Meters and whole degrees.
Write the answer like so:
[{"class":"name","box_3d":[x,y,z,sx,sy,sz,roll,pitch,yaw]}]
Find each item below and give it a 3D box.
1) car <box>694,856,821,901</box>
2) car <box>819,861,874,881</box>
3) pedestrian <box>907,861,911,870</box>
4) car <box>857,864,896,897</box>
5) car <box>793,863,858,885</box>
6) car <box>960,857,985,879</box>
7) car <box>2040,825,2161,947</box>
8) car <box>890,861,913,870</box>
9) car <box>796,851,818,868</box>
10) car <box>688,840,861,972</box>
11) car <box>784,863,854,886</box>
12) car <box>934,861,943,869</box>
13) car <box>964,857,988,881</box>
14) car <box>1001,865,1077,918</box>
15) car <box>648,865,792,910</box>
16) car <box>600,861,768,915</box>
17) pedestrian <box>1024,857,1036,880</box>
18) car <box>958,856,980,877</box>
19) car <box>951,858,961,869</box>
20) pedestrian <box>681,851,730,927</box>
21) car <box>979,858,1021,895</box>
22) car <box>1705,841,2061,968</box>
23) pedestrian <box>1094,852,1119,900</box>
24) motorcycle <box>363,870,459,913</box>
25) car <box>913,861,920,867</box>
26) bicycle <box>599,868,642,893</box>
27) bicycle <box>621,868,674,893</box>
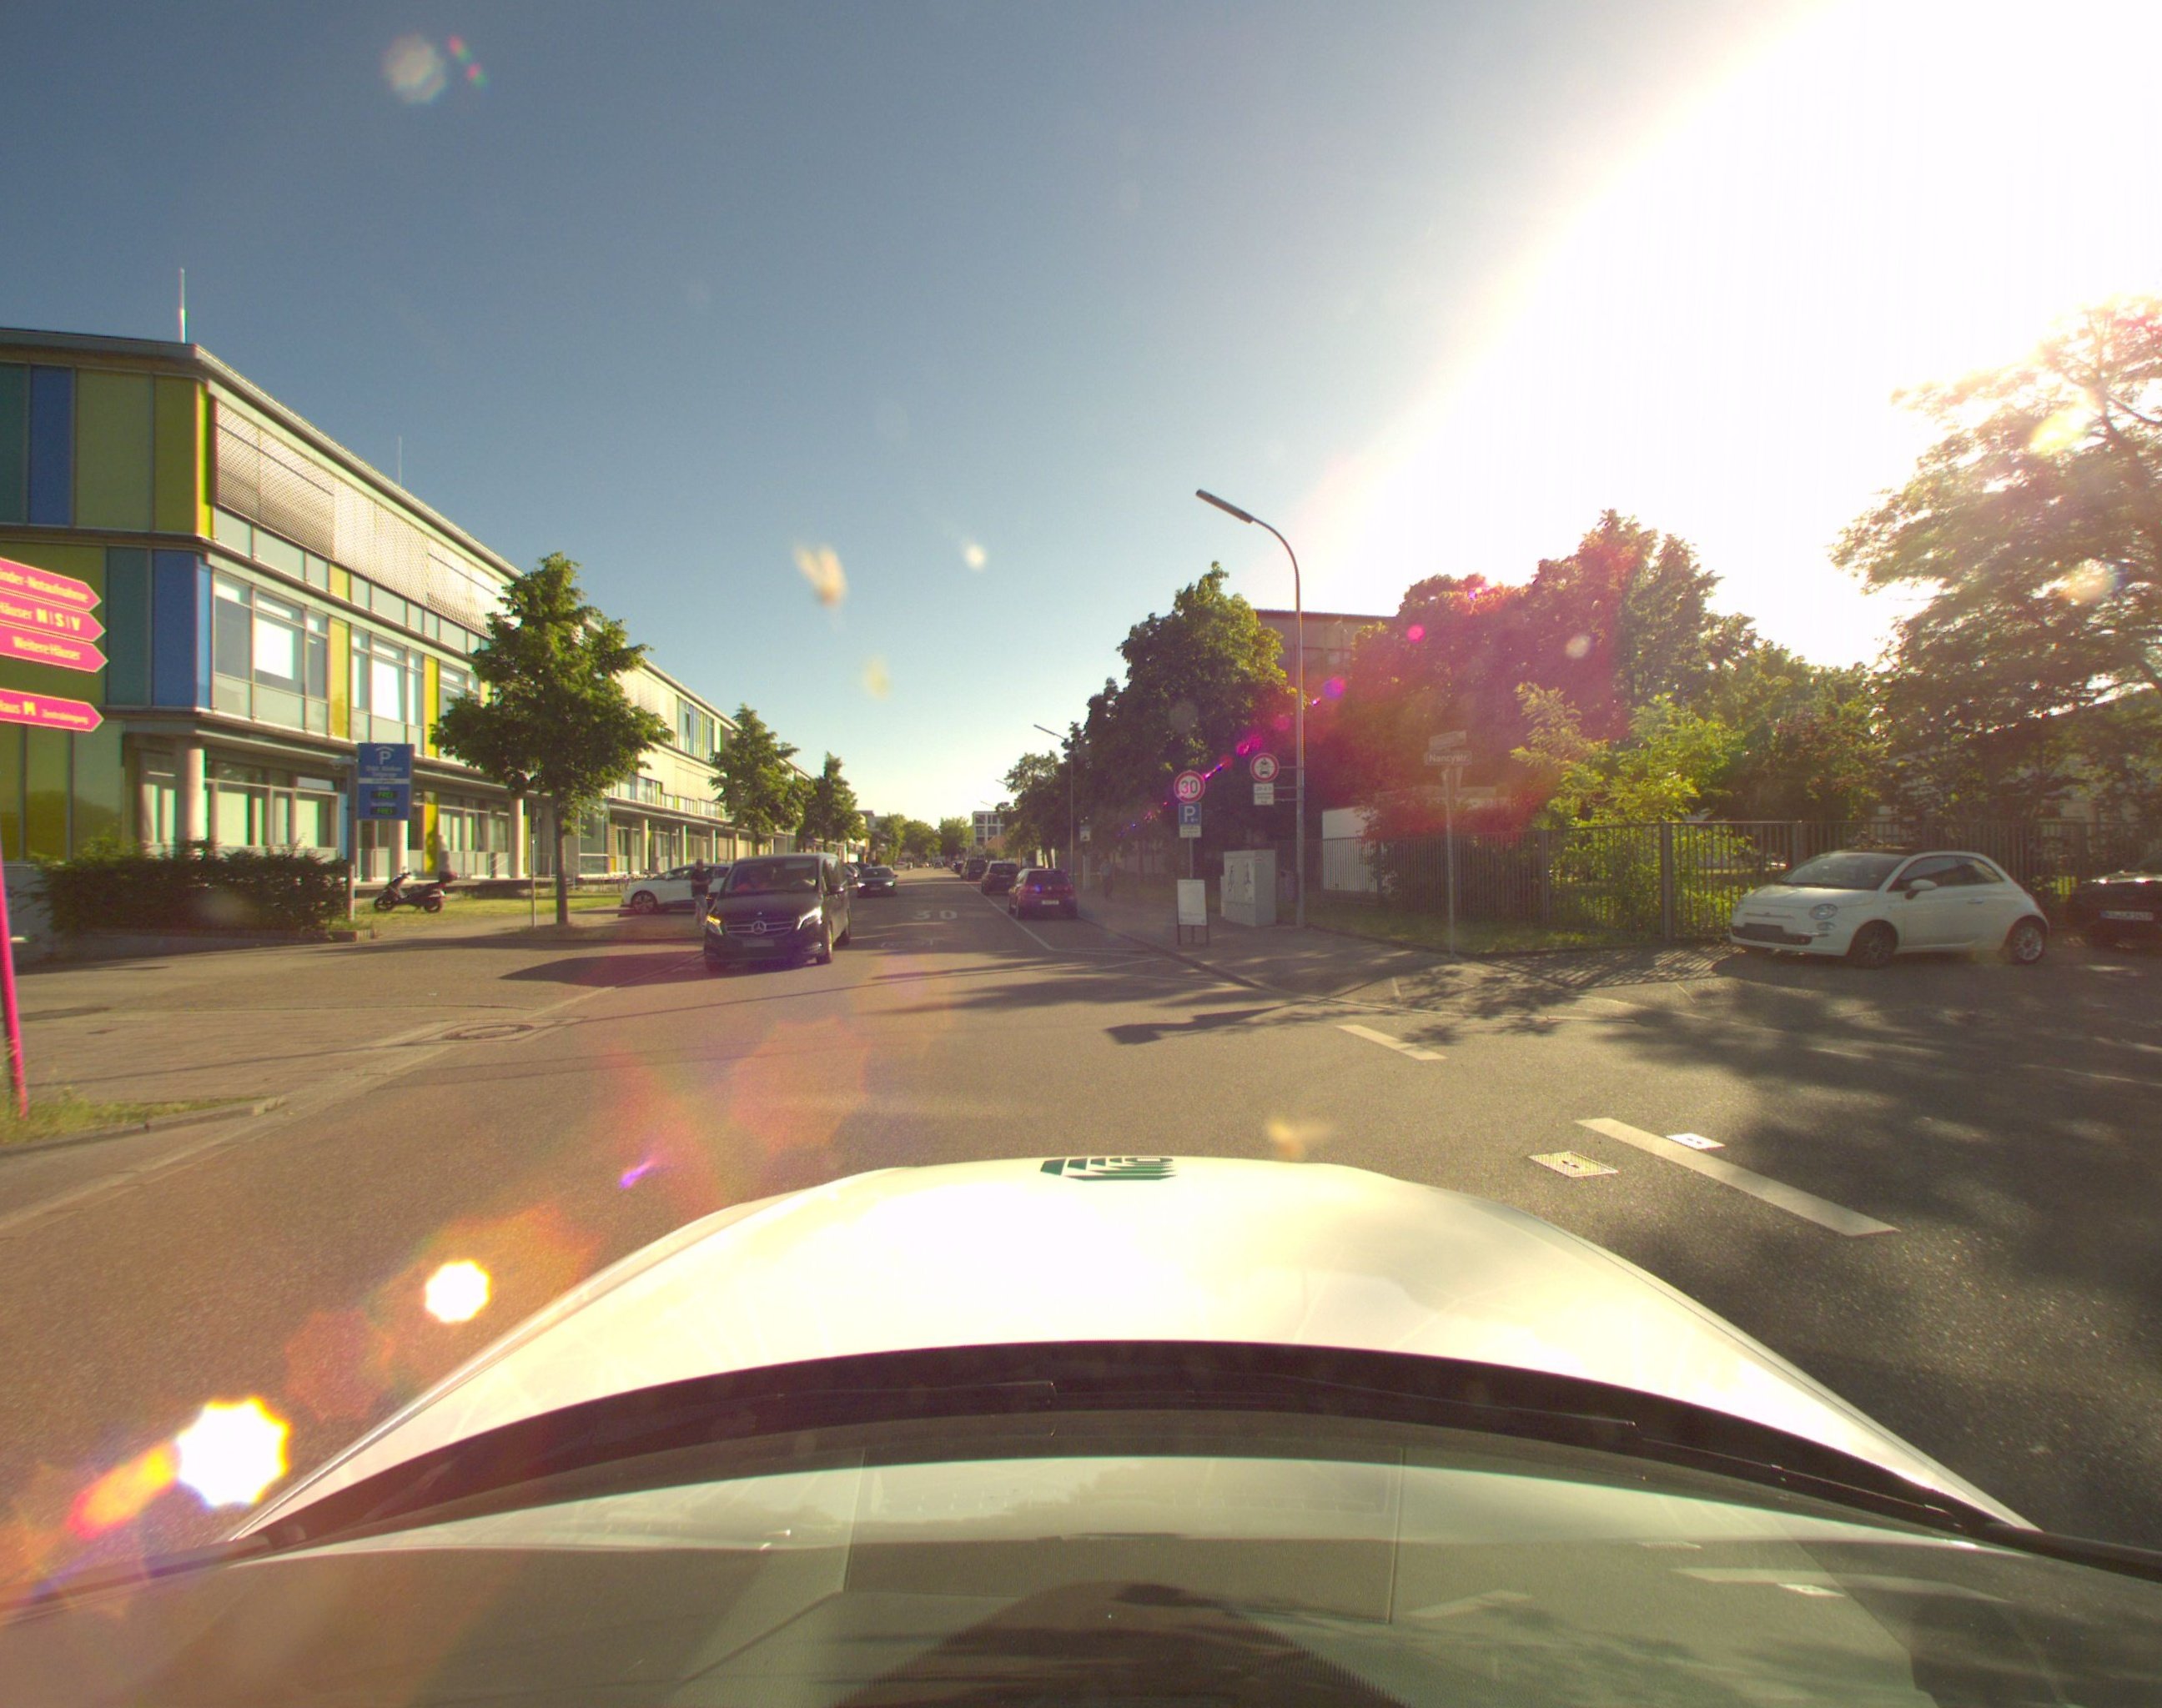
[{"class":"car","box_3d":[-13.842,1.037,35.076,4.743,1.865,1.821,1,-1,-10]},{"class":"car","box_3d":[-19.310,1.397,67.263,4.220,1.603,1.863,1,-1,-14]},{"class":"pedestrian","box_3d":[-29.888,2.000,141.355,0.619,1.624,0.713,-2,0,-11]},{"class":"car","box_3d":[-9.962,1.262,39.917,1.706,1.451,4.068,-2,0,-13]},{"class":"car","box_3d":[-17.964,1.362,57.361,4.220,1.462,1.863,-1,0,-14]},{"class":"car","box_3d":[-9.541,1.214,71.475,1.994,1.823,4.183,-2,0,-10]},{"class":"car","box_3d":[16.403,0.403,11.553,4.152,1.637,1.750,-1,0,-10]},{"class":"car","box_3d":[-32.897,2.096,149.477,3.987,1.519,1.993,0,-2,-10]},{"class":"car","box_3d":[-34.847,0.681,103.641,1.994,2.014,3.985,0,-2,-10]},{"class":"car","box_3d":[-5.291,0.823,14.851,1.956,1.867,5.235,-3,-1,-10]},{"class":"car","box_3d":[-16.194,1.274,50.456,3.993,1.359,1.735,1,-1,-14]},{"class":"car","box_3d":[-28.002,2.197,160.432,1.744,1.543,3.986,0,-1,-10]},{"class":"car","box_3d":[-8.456,1.193,65.351,1.733,1.830,3.892,-1,0,-10]},{"class":"car","box_3d":[-1.383,1.096,25.109,1.720,1.455,4.634,1,-1,-11]},{"class":"car","box_3d":[-12.960,1.180,29.514,4.434,1.501,1.821,0,-1,-10]},{"class":"car","box_3d":[-12.962,1.082,26.858,4.607,1.651,1.863,0,-1,-7]},{"class":"pedestrian","box_3d":[-3.752,1.087,59.934,0.698,1.661,0.749,-3,0,-11]},{"class":"car","box_3d":[-10.669,1.174,77.598,1.875,1.978,3.986,-2,0,-10]},{"class":"car","box_3d":[-19.284,1.431,125.286,1.436,1.560,3.031,-1,0,-10]},{"class":"pedestrian","box_3d":[-9.242,0.851,20.071,0.857,1.842,0.823,1,-1,-9]},{"class":"car","box_3d":[-4.113,1.083,40.860,1.811,1.666,4.578,1,0,-9]},{"class":"car","box_3d":[10.545,0.604,10.820,3.546,1.486,1.595,-1,0,-10]},{"class":"pedestrian","box_3d":[0.963,0.813,31.019,0.718,1.758,0.882,-3,0,-10]},{"class":"motorcycle","box_3d":[-18.830,1.058,22.918,2.045,1.149,0.497,2,0,-13]},{"class":"car","box_3d":[-43.321,2.577,214.837,1.728,1.536,3.984,-1,0,-12]},{"class":"bicycle","box_3d":[-22.027,1.250,39.001,0.866,1.154,1.991,1,-1,-1]},{"class":"bicycle","box_3d":[-20.573,1.247,38.684,0.863,1.153,2.380,1,-1,11]}]
